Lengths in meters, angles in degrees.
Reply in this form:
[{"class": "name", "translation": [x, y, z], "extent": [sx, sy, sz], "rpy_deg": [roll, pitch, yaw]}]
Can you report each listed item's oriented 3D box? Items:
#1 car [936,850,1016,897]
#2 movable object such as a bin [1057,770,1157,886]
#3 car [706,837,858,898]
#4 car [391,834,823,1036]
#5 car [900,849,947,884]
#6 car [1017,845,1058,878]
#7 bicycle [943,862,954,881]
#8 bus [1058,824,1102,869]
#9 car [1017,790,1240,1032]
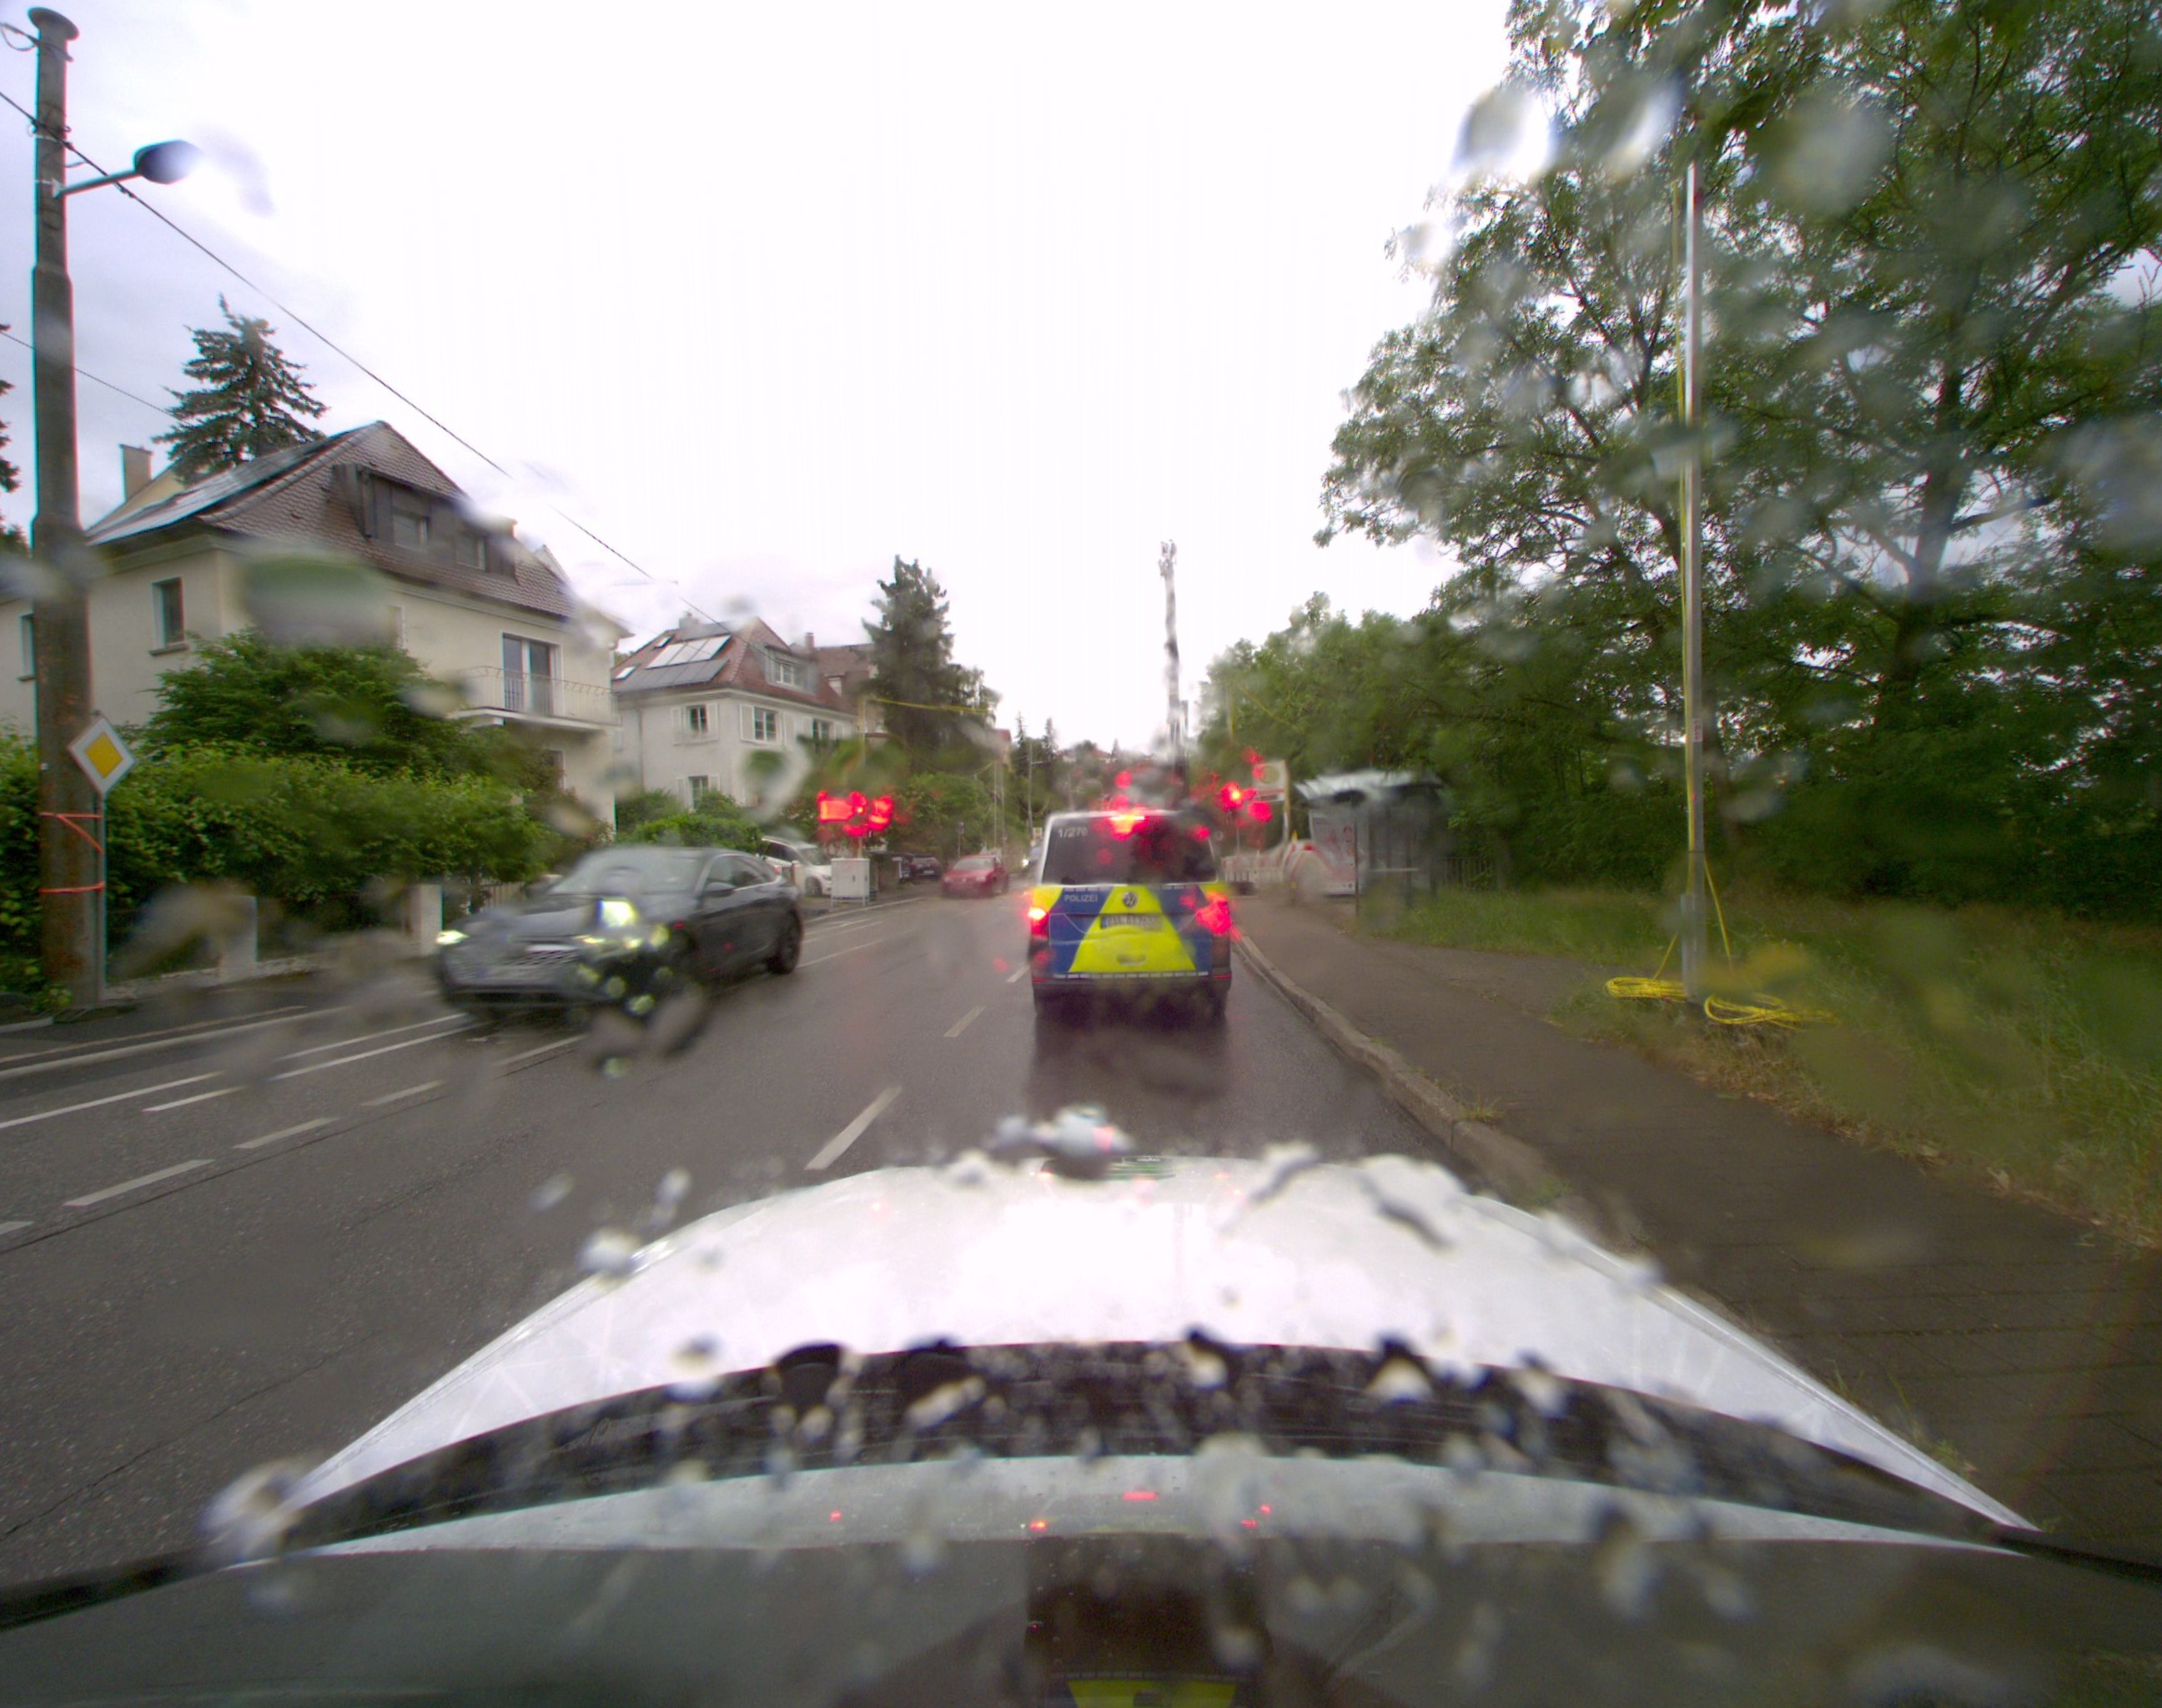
[{"class": "car", "translation": [-3.563, 0.635, 28.319], "extent": [1.754, 1.463, 3.895], "rpy_deg": [-1, 0, 8]}, {"class": "movable object such as a bin", "translation": [1.114, -0.928, 31.780], "extent": [2.809, 4.177, 4.400], "rpy_deg": [0, 0, 17]}, {"class": "car", "translation": [-10.272, 0.462, 28.064], "extent": [4.599, 2.007, 1.907], "rpy_deg": [0, 0, 13]}, {"class": "car", "translation": [-4.719, 0.682, 9.162], "extent": [1.986, 1.674, 4.690], "rpy_deg": [0, 0, 2]}, {"class": "car", "translation": [-7.446, 0.560, 38.307], "extent": [1.770, 1.486, 3.720], "rpy_deg": [0, 1, -17]}, {"class": "car", "translation": [-2.400, 0.372, 45.961], "extent": [1.972, 1.748, 4.555], "rpy_deg": [0, 0, 1]}, {"class": "bicycle", "translation": [-6.492, 0.830, 39.897], "extent": [0.463, 0.897, 1.627], "rpy_deg": [-1, 0, -12]}, {"class": "bus", "translation": [0.076, -0.613, 73.793], "extent": [2.827, 3.718, 12.022], "rpy_deg": [0, 0, 5]}, {"class": "car", "translation": [0.468, 0.483, 8.949], "extent": [1.886, 2.050, 4.002], "rpy_deg": [0, 0, 2]}]
